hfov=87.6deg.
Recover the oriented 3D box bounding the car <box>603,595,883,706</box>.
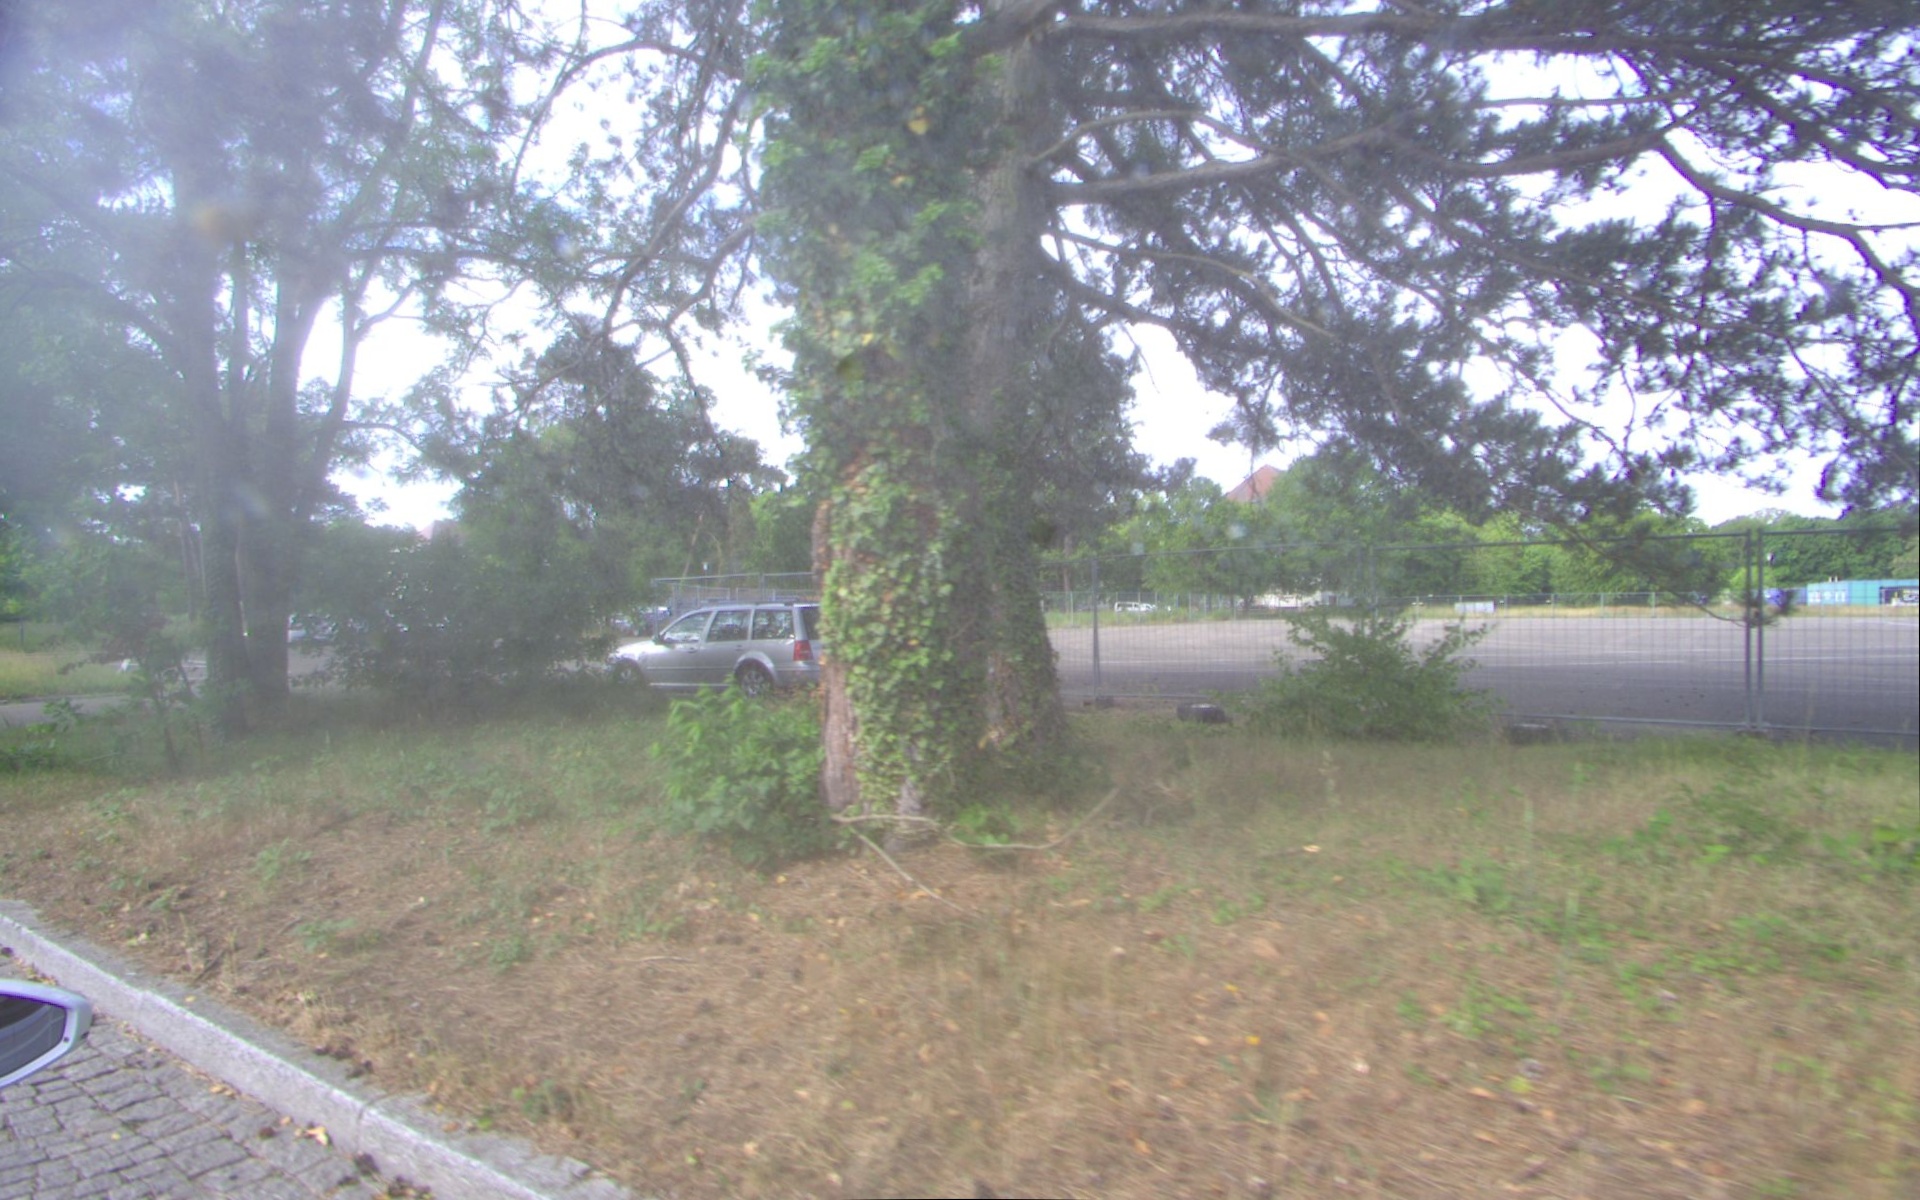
[{"bbox_3d":[-3.248,0.718,14.786,4.014,1.444,1.644,-1,-3,31],"label":"car"}]

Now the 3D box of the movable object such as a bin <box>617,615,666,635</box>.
[{"bbox_3d":[-14.123,1.085,44.383,1.928,0.836,1.181,-1,0,37],"label":"movable object such as a bin"}]

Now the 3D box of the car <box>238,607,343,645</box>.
[{"bbox_3d":[-29.068,1.146,43.466,4.359,1.500,1.991,-2,-1,29],"label":"car"}]
